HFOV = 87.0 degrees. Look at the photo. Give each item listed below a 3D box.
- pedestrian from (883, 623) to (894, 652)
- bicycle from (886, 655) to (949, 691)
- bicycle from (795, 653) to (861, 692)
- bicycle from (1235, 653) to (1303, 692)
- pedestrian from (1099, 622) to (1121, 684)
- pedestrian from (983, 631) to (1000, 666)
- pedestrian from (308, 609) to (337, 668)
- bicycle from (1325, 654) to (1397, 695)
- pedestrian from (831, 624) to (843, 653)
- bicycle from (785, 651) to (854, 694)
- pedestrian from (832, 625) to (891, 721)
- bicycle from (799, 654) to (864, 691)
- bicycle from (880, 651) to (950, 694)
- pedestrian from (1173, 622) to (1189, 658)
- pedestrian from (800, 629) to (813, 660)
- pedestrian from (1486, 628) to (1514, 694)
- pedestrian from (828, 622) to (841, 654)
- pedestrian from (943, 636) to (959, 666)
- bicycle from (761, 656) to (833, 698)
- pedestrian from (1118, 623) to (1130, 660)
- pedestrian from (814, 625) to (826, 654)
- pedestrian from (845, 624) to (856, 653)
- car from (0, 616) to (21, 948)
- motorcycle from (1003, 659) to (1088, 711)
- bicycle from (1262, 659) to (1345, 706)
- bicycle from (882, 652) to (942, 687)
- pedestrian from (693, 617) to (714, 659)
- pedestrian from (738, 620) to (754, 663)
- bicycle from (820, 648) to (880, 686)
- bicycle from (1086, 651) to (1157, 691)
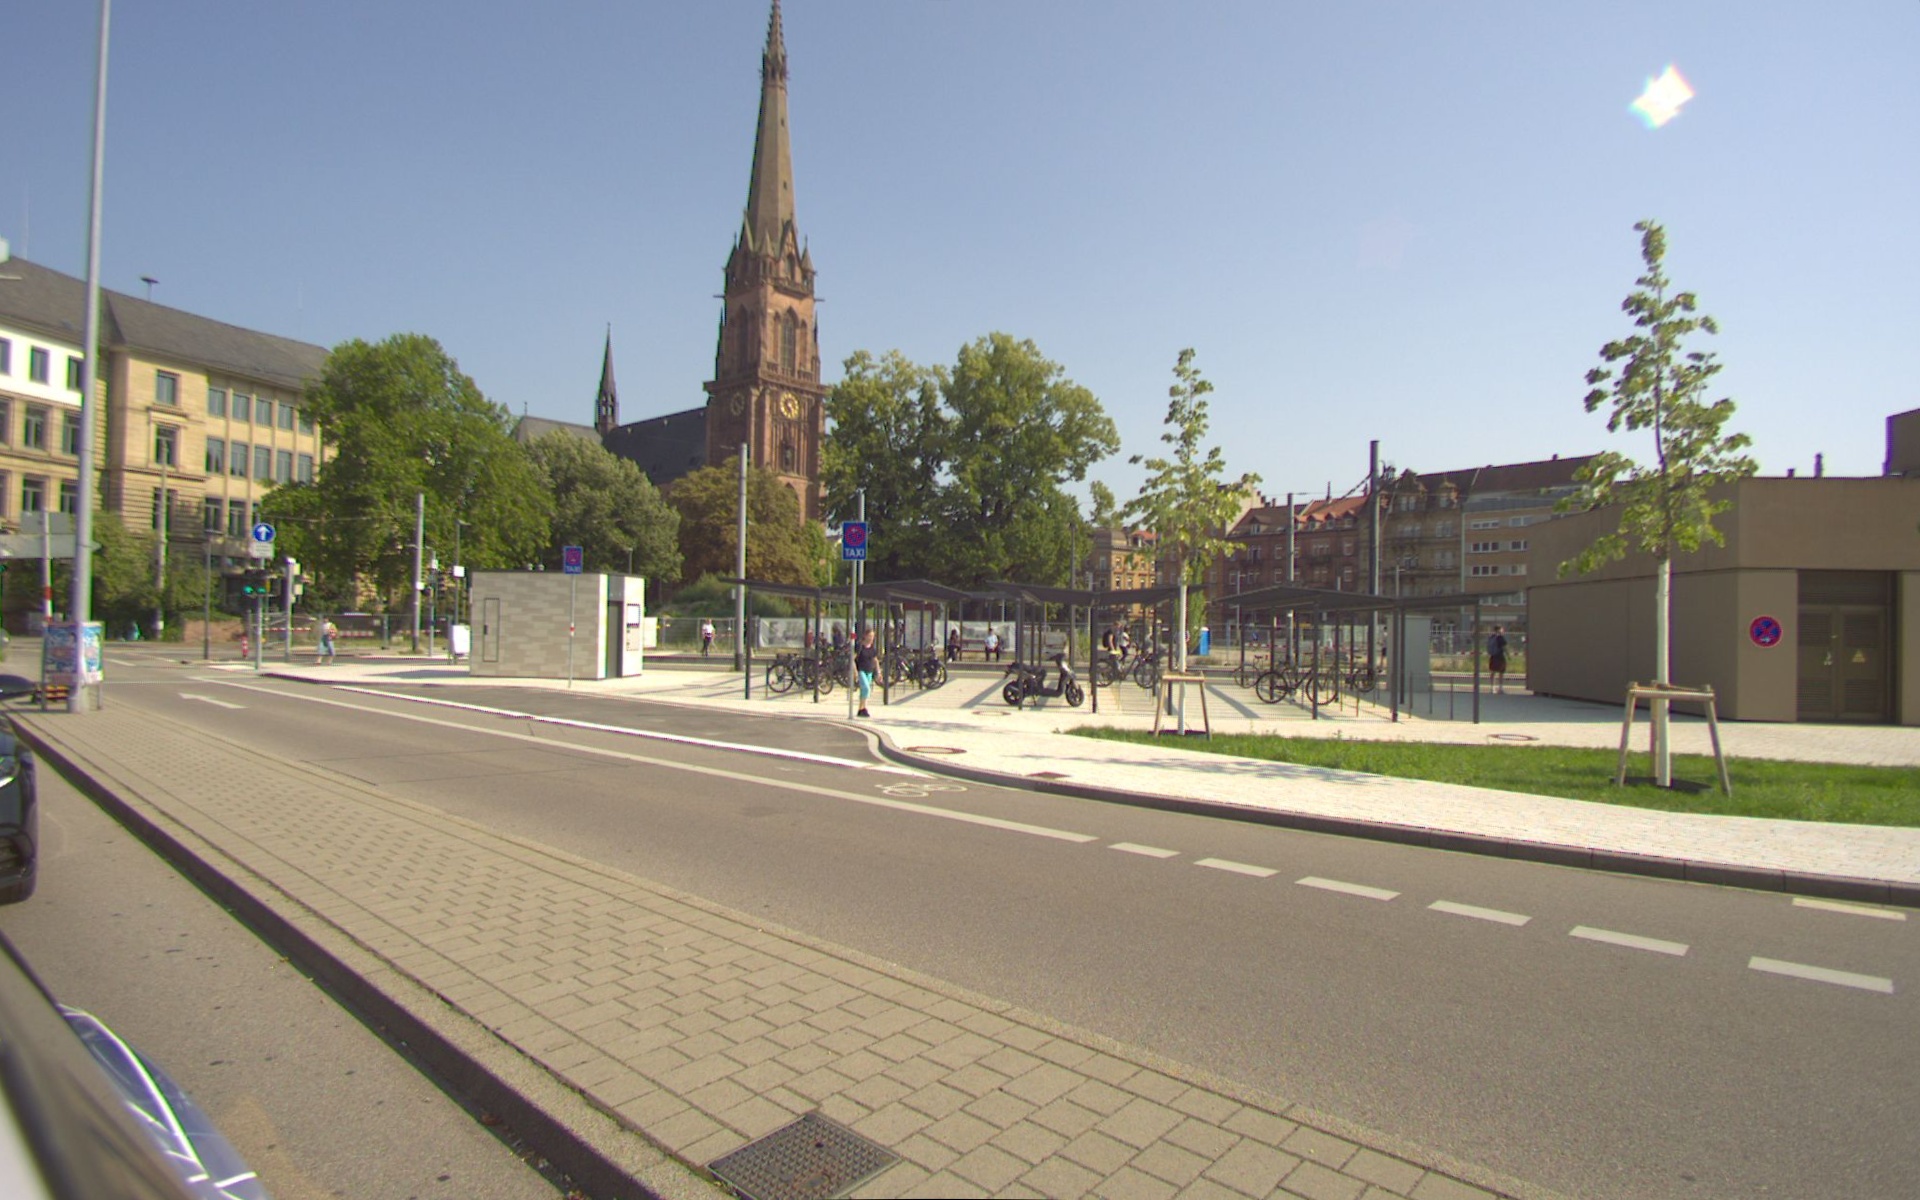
[{"bbox_3d":[-3.083,1.633,43.762,0.379,1.233,0.438,-1,0,10],"label":"pedestrian"},{"bbox_3d":[-1.103,1.886,26.277,1.570,0.899,0.409,1,-2,9],"label":"bicycle"},{"bbox_3d":[-3.282,1.789,25.112,1.570,0.899,0.400,1,-2,9],"label":"bicycle"},{"bbox_3d":[8.464,1.985,27.781,1.726,1.017,0.400,1,-2,9],"label":"bicycle"},{"bbox_3d":[4.439,1.558,29.981,0.585,1.815,0.333,1,-2,4],"label":"pedestrian"},{"bbox_3d":[1.287,1.955,41.202,0.636,1.405,0.661,1,-2,6],"label":"pedestrian"},{"bbox_3d":[-22.292,1.337,35.384,0.721,2.029,0.716,2,-2,-38],"label":"pedestrian"},{"bbox_3d":[10.794,2.004,27.290,1.724,1.028,0.473,1,-2,8],"label":"bicycle"},{"bbox_3d":[-5.287,1.662,43.384,0.379,1.233,0.438,-1,0,10],"label":"pedestrian"},{"bbox_3d":[-3.370,1.729,24.334,1.570,0.975,0.420,1,-2,9],"label":"bicycle"},{"bbox_3d":[-1.671,1.235,17.206,0.663,1.577,0.747,0,-3,25],"label":"pedestrian"},{"bbox_3d":[-3.239,1.828,25.617,1.570,0.899,0.409,1,-2,9],"label":"bicycle"},{"bbox_3d":[-1.123,1.810,25.366,1.694,0.994,0.532,1,-2,9],"label":"bicycle"},{"bbox_3d":[8.861,1.596,40.607,0.562,1.432,0.468,-1,0,10],"label":"pedestrian"},{"bbox_3d":[-6.625,1.933,43.664,0.411,1.328,0.392,-1,0,13],"label":"pedestrian"},{"bbox_3d":[14.902,1.680,27.913,0.650,1.783,0.473,0,-2,33],"label":"pedestrian"},{"bbox_3d":[-5.264,1.587,42.527,0.430,1.328,0.438,-1,0,10],"label":"pedestrian"},{"bbox_3d":[-0.365,2.103,41.553,0.568,1.206,0.466,1,-2,10],"label":"pedestrian"},{"bbox_3d":[-3.709,1.744,23.074,1.570,0.899,0.400,1,-2,9],"label":"bicycle"},{"bbox_3d":[6.508,1.635,40.094,0.464,1.432,0.567,-1,0,10],"label":"pedestrian"},{"bbox_3d":[-5.986,1.671,43.226,0.379,1.233,0.438,-1,0,10],"label":"pedestrian"},{"bbox_3d":[-4.713,1.654,43.625,0.379,1.233,0.438,-1,0,10],"label":"pedestrian"},{"bbox_3d":[-6.562,0.815,5.587,4.876,1.451,1.799,0,0,45],"label":"car"},{"bbox_3d":[1.800,1.769,21.126,1.726,1.017,0.541,1,-2,9],"label":"motorcycle"},{"bbox_3d":[7.738,1.854,22.860,1.726,1.017,0.400,1,-2,9],"label":"bicycle"},{"bbox_3d":[-1.312,1.907,27.738,1.570,0.899,0.409,1,-2,9],"label":"bicycle"},{"bbox_3d":[-10.915,1.606,43.068,0.389,1.762,0.707,-1,-3,41],"label":"pedestrian"},{"bbox_3d":[-8.738,1.687,41.371,0.510,1.720,0.505,2,-2,-23],"label":"pedestrian"},{"bbox_3d":[-3.034,1.841,27.996,1.570,0.985,0.451,1,0,9],"label":"bicycle"},{"bbox_3d":[4.315,1.882,27.048,1.854,1.017,0.460,1,-2,9],"label":"bicycle"}]
